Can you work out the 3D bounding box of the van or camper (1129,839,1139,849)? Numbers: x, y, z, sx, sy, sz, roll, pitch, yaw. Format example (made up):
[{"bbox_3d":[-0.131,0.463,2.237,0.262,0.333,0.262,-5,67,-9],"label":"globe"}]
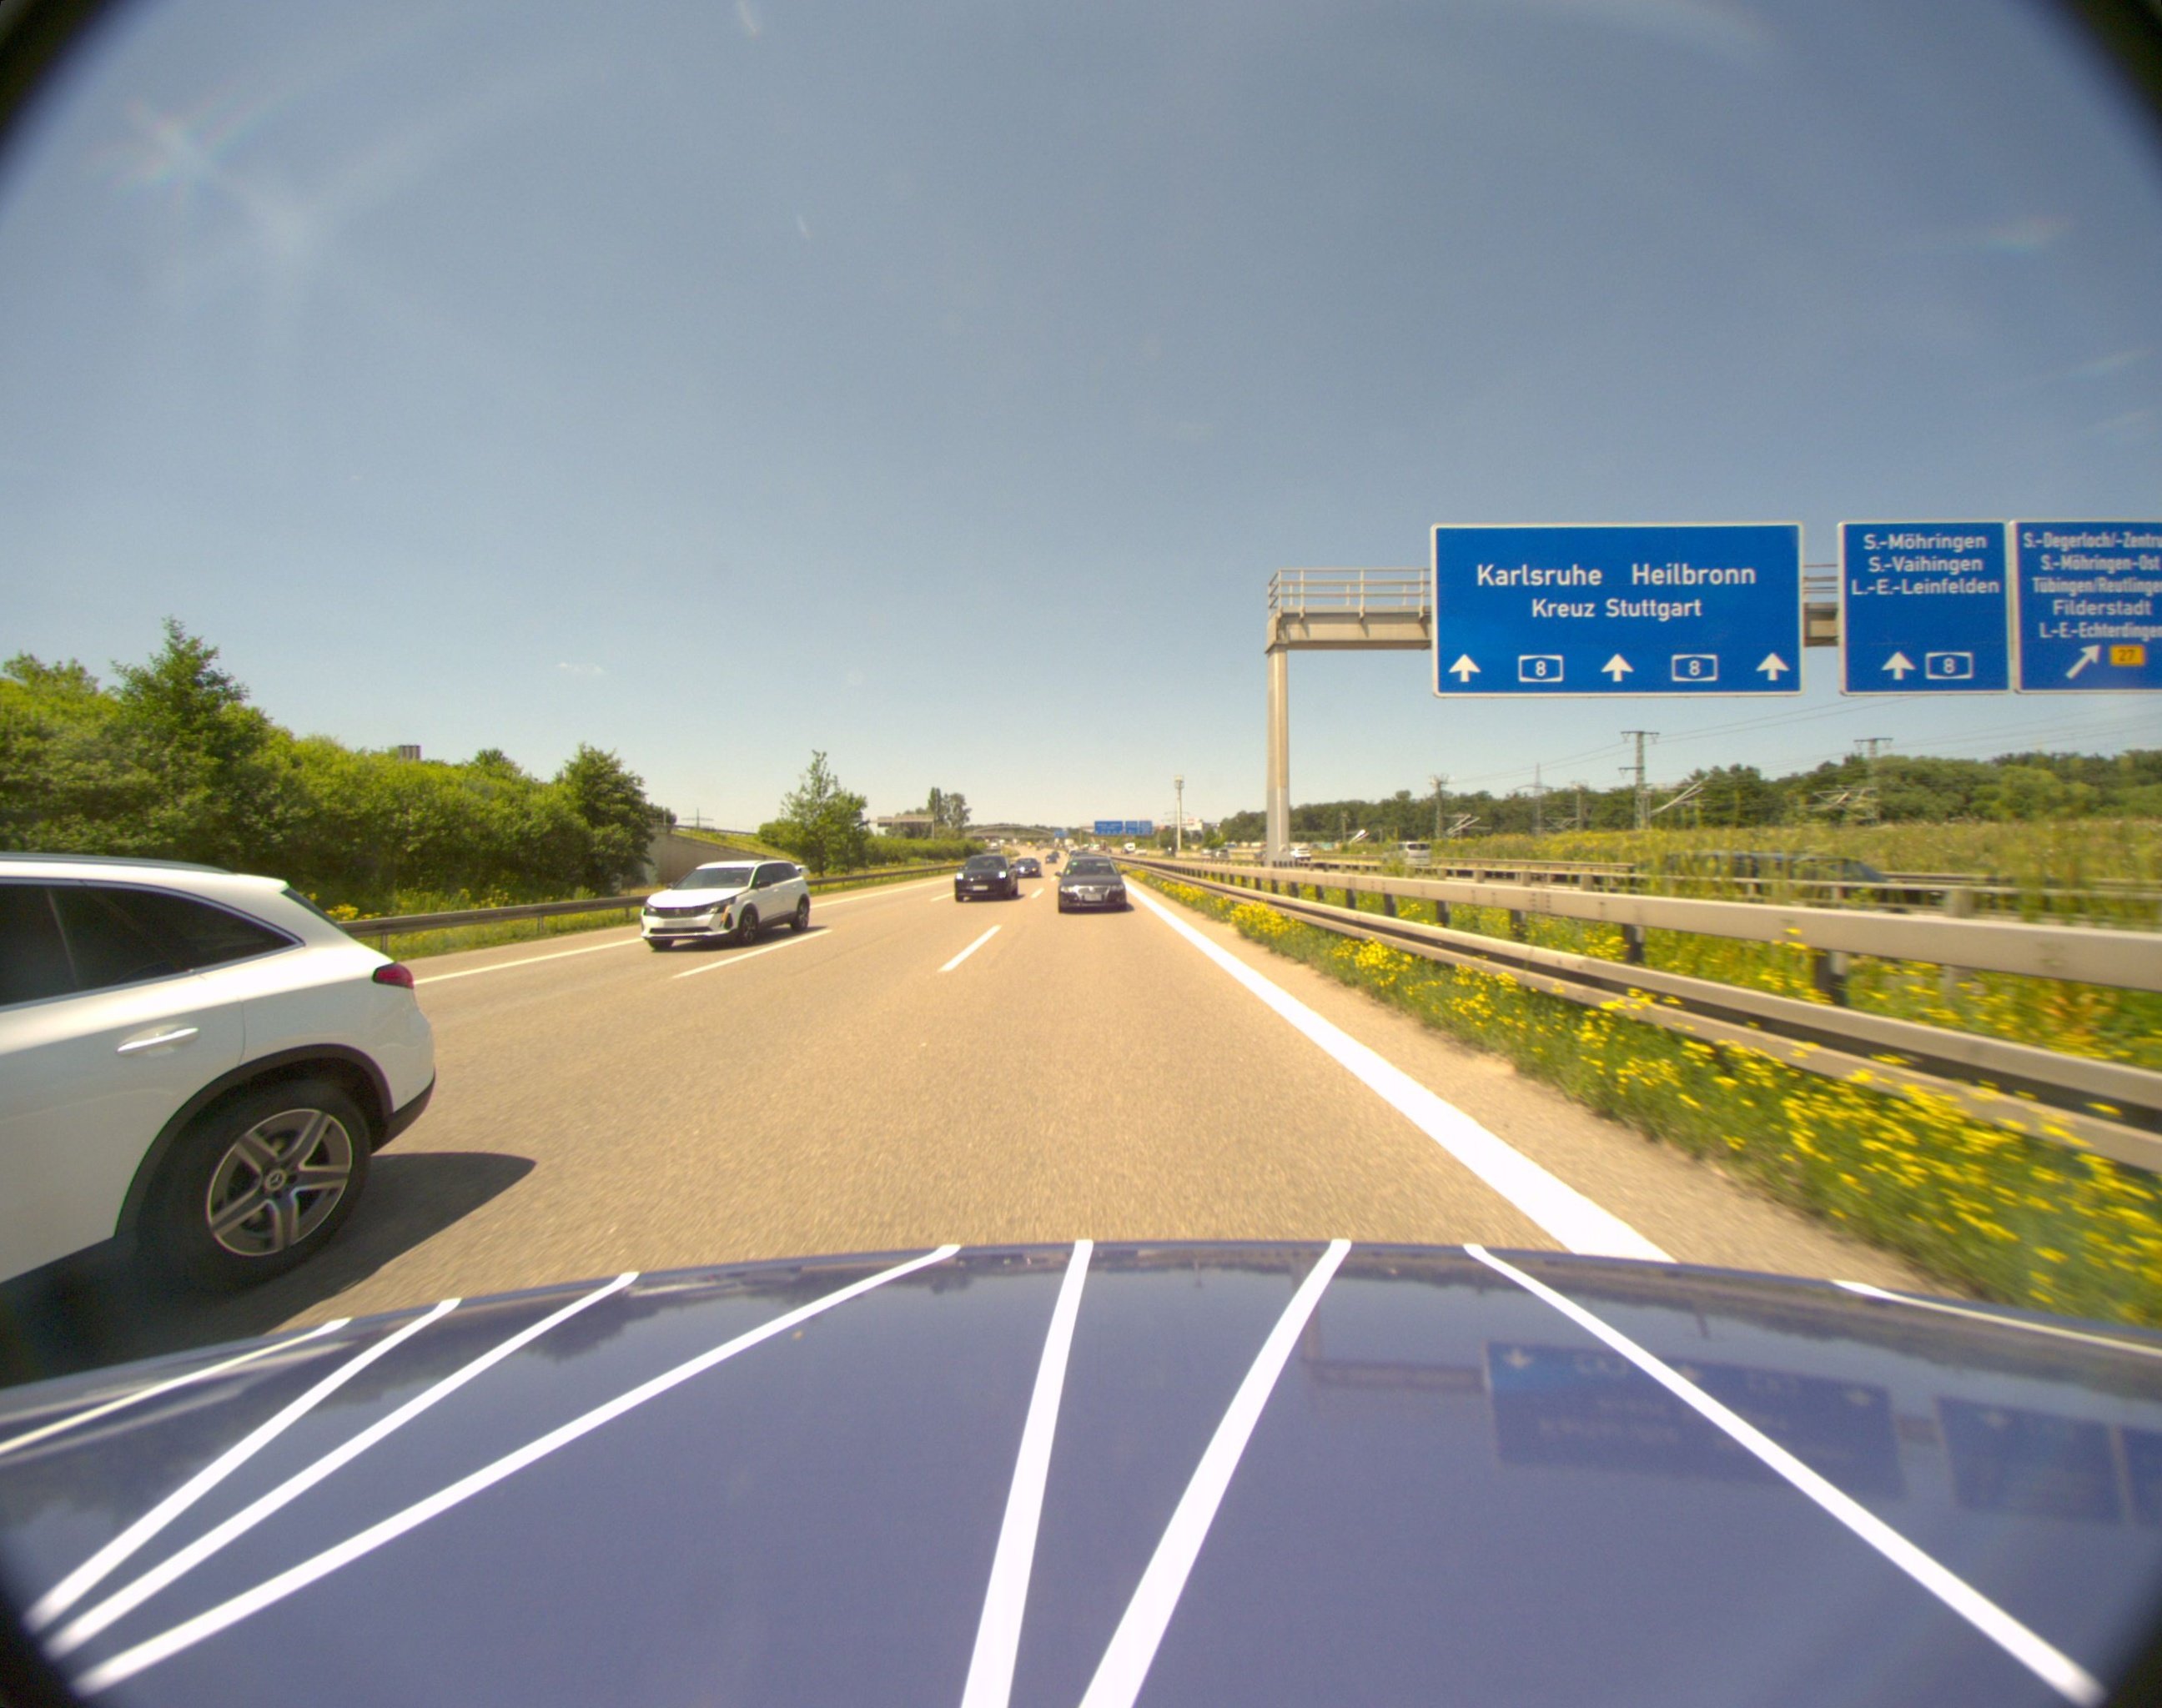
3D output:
[{"bbox_3d":[15.138,-2.813,217.078,2.343,2.641,7.603,-2,1,-1],"label":"van or camper"}]

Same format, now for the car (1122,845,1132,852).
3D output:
[{"bbox_3d":[11.564,-1.428,190.184,1.999,1.565,4.549,-2,1,-1],"label":"car"}]

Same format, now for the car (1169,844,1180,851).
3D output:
[{"bbox_3d":[22.807,-1.649,185.242,1.998,1.588,4.933,-1,1,1],"label":"car"}]

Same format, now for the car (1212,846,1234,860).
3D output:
[{"bbox_3d":[18.126,-0.143,96.891,1.998,1.567,4.476,-1,1,1],"label":"car"}]

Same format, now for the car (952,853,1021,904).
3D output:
[{"bbox_3d":[-3.365,0.815,27.922,1.983,1.620,4.615,-2,1,-2],"label":"car"}]

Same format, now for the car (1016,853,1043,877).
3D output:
[{"bbox_3d":[-3.504,0.755,52.332,1.752,1.462,3.998,-2,1,-3],"label":"car"}]

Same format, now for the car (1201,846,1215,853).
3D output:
[{"bbox_3d":[24.129,-0.804,144.356,1.999,1.304,4.162,-2,1,0],"label":"car"}]

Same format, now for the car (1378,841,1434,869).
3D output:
[{"bbox_3d":[23.586,0.032,55.287,1.998,1.875,4.977,-2,0,1],"label":"car"}]

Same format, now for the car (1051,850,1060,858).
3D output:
[{"bbox_3d":[-5.763,0.017,171.511,1.999,1.691,3.999,-2,1,-1],"label":"car"}]

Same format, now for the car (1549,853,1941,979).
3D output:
[{"bbox_3d":[8.902,0.708,10.816,1.872,1.387,4.270,-1,0,0],"label":"car"}]

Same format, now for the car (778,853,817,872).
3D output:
[{"bbox_3d":[-33.447,0.979,89.781,1.996,2.002,4.768,-1,1,14],"label":"car"}]

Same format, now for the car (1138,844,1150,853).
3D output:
[{"bbox_3d":[13.014,-1.218,157.566,1.999,1.820,5.598,-2,1,0],"label":"car"}]

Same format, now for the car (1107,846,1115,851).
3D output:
[{"bbox_3d":[9.277,-1.655,233.204,1.999,1.500,4.888,-3,1,-1],"label":"car"}]

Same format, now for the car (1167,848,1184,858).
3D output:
[{"bbox_3d":[14.421,-0.157,116.500,1.934,1.475,4.476,-2,1,0],"label":"car"}]

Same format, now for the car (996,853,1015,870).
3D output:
[{"bbox_3d":[-7.261,0.737,73.587,1.752,1.462,3.997,-2,1,-5],"label":"car"}]

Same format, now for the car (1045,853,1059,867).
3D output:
[{"bbox_3d":[-4.317,0.847,114.117,1.999,2.002,3.999,-2,1,-1],"label":"car"}]

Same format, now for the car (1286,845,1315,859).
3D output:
[{"bbox_3d":[24.966,-0.252,86.540,1.998,1.567,4.476,-1,1,1],"label":"car"}]

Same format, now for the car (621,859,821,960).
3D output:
[{"bbox_3d":[-7.150,0.998,15.741,1.898,1.620,4.616,-2,1,0],"label":"car"}]

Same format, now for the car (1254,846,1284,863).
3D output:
[{"bbox_3d":[18.518,0.067,75.057,1.998,1.567,4.477,-1,1,3],"label":"car"}]

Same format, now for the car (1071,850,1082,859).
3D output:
[{"bbox_3d":[-0.873,0.043,148.554,1.999,1.691,3.999,-2,1,-1],"label":"car"}]

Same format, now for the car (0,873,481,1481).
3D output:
[{"bbox_3d":[-3.995,0.958,1.466,1.909,1.646,4.636,-2,0,0],"label":"car"}]

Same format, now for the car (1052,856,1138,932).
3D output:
[{"bbox_3d":[0.260,0.841,17.891,1.752,1.462,3.999,-2,1,-1],"label":"car"}]
